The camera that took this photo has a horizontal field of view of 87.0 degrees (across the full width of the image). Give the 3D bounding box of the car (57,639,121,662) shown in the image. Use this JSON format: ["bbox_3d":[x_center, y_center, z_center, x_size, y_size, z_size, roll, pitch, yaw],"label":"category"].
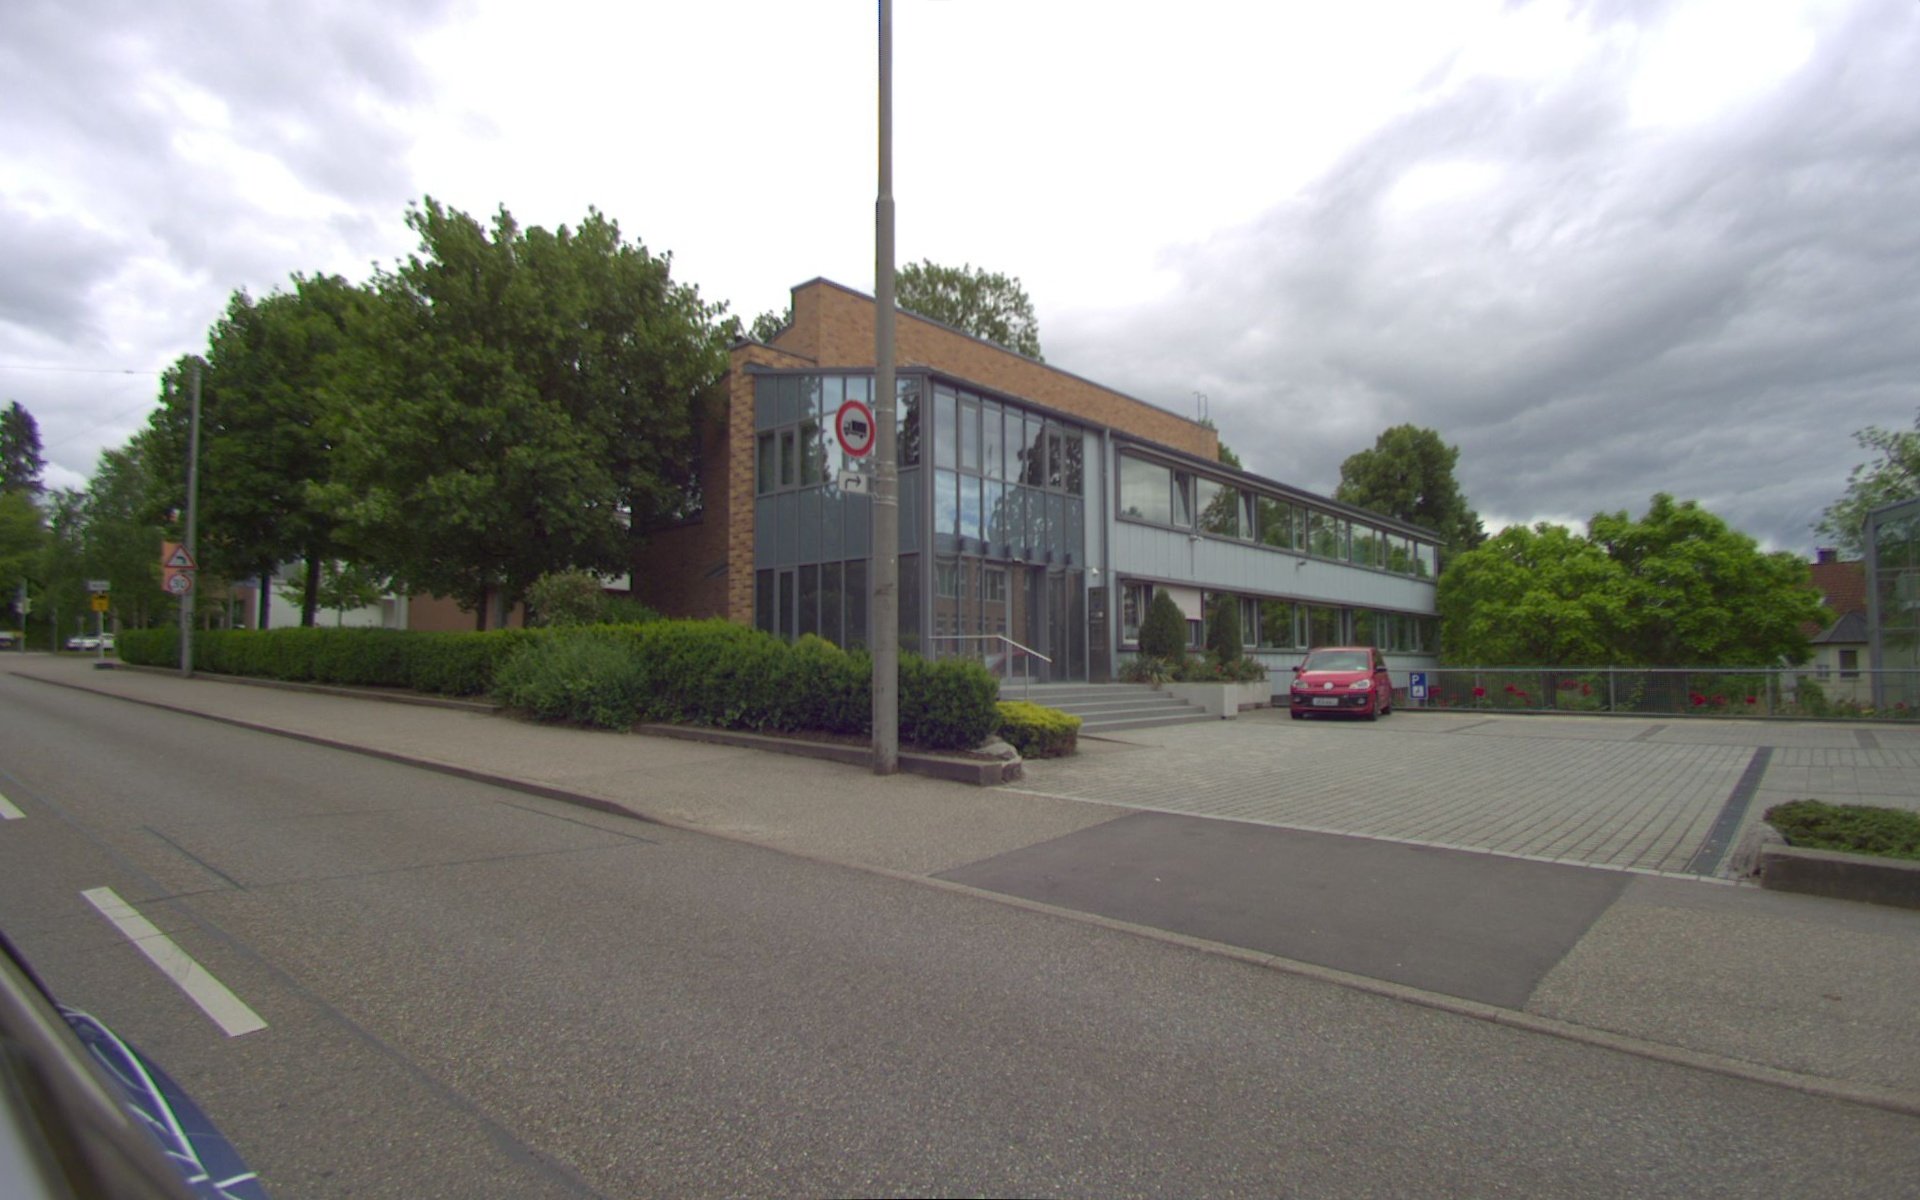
[{"bbox_3d":[-66.903,3.885,77.797,1.967,1.625,4.009,2,-4,-11],"label":"car"}]

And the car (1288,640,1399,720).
[{"bbox_3d":[8.016,1.609,20.993,1.650,1.503,3.422,-2,-3,29],"label":"car"}]

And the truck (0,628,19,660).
[{"bbox_3d":[-70.027,2.933,70.255,6.610,2.205,2.534,5,-5,-39],"label":"truck"}]
